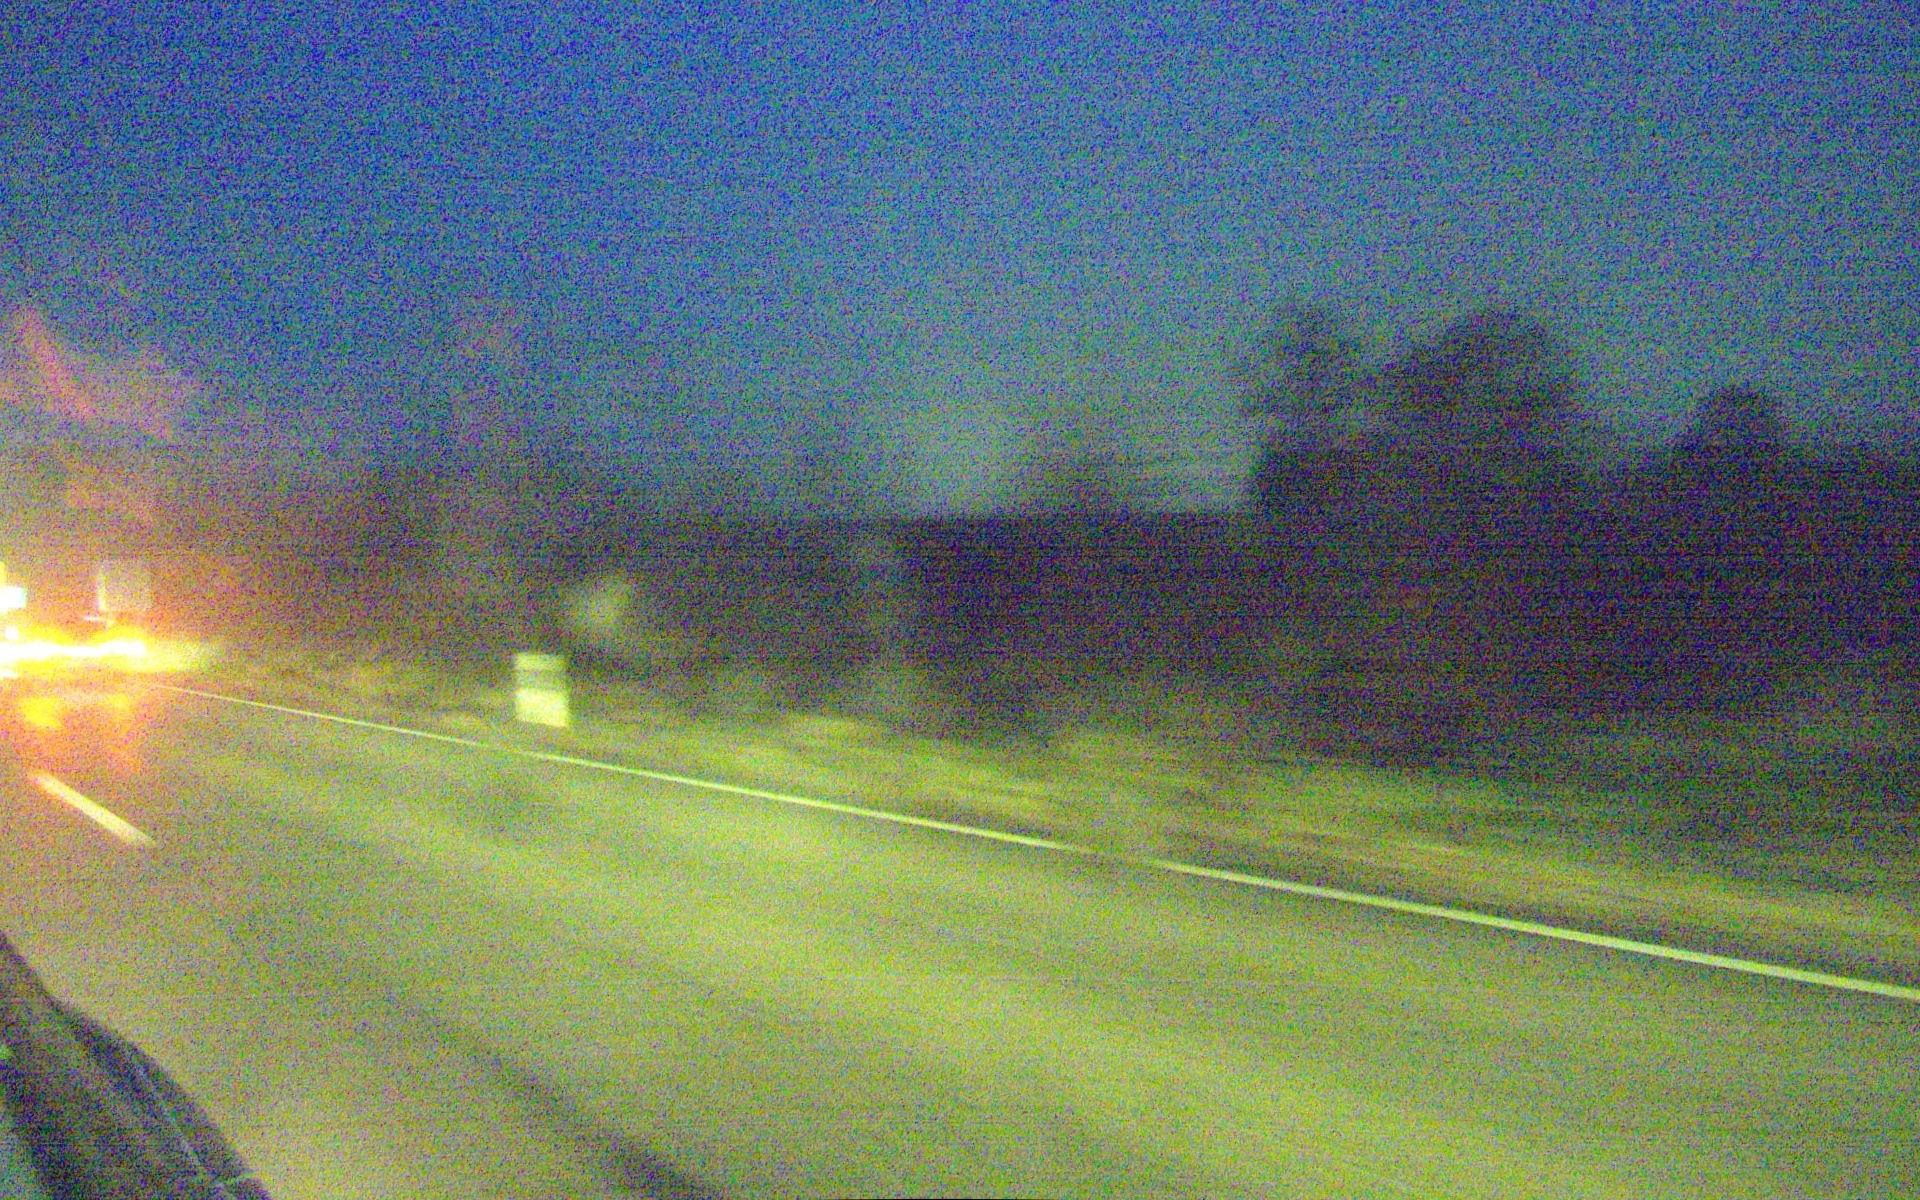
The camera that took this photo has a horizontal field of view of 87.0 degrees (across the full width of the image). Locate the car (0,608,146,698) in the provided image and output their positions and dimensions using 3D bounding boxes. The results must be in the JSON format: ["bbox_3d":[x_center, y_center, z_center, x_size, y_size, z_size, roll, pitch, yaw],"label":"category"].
[{"bbox_3d":[-19.343,1.061,21.934,3.998,1.674,1.973,0,2,41],"label":"car"}]
